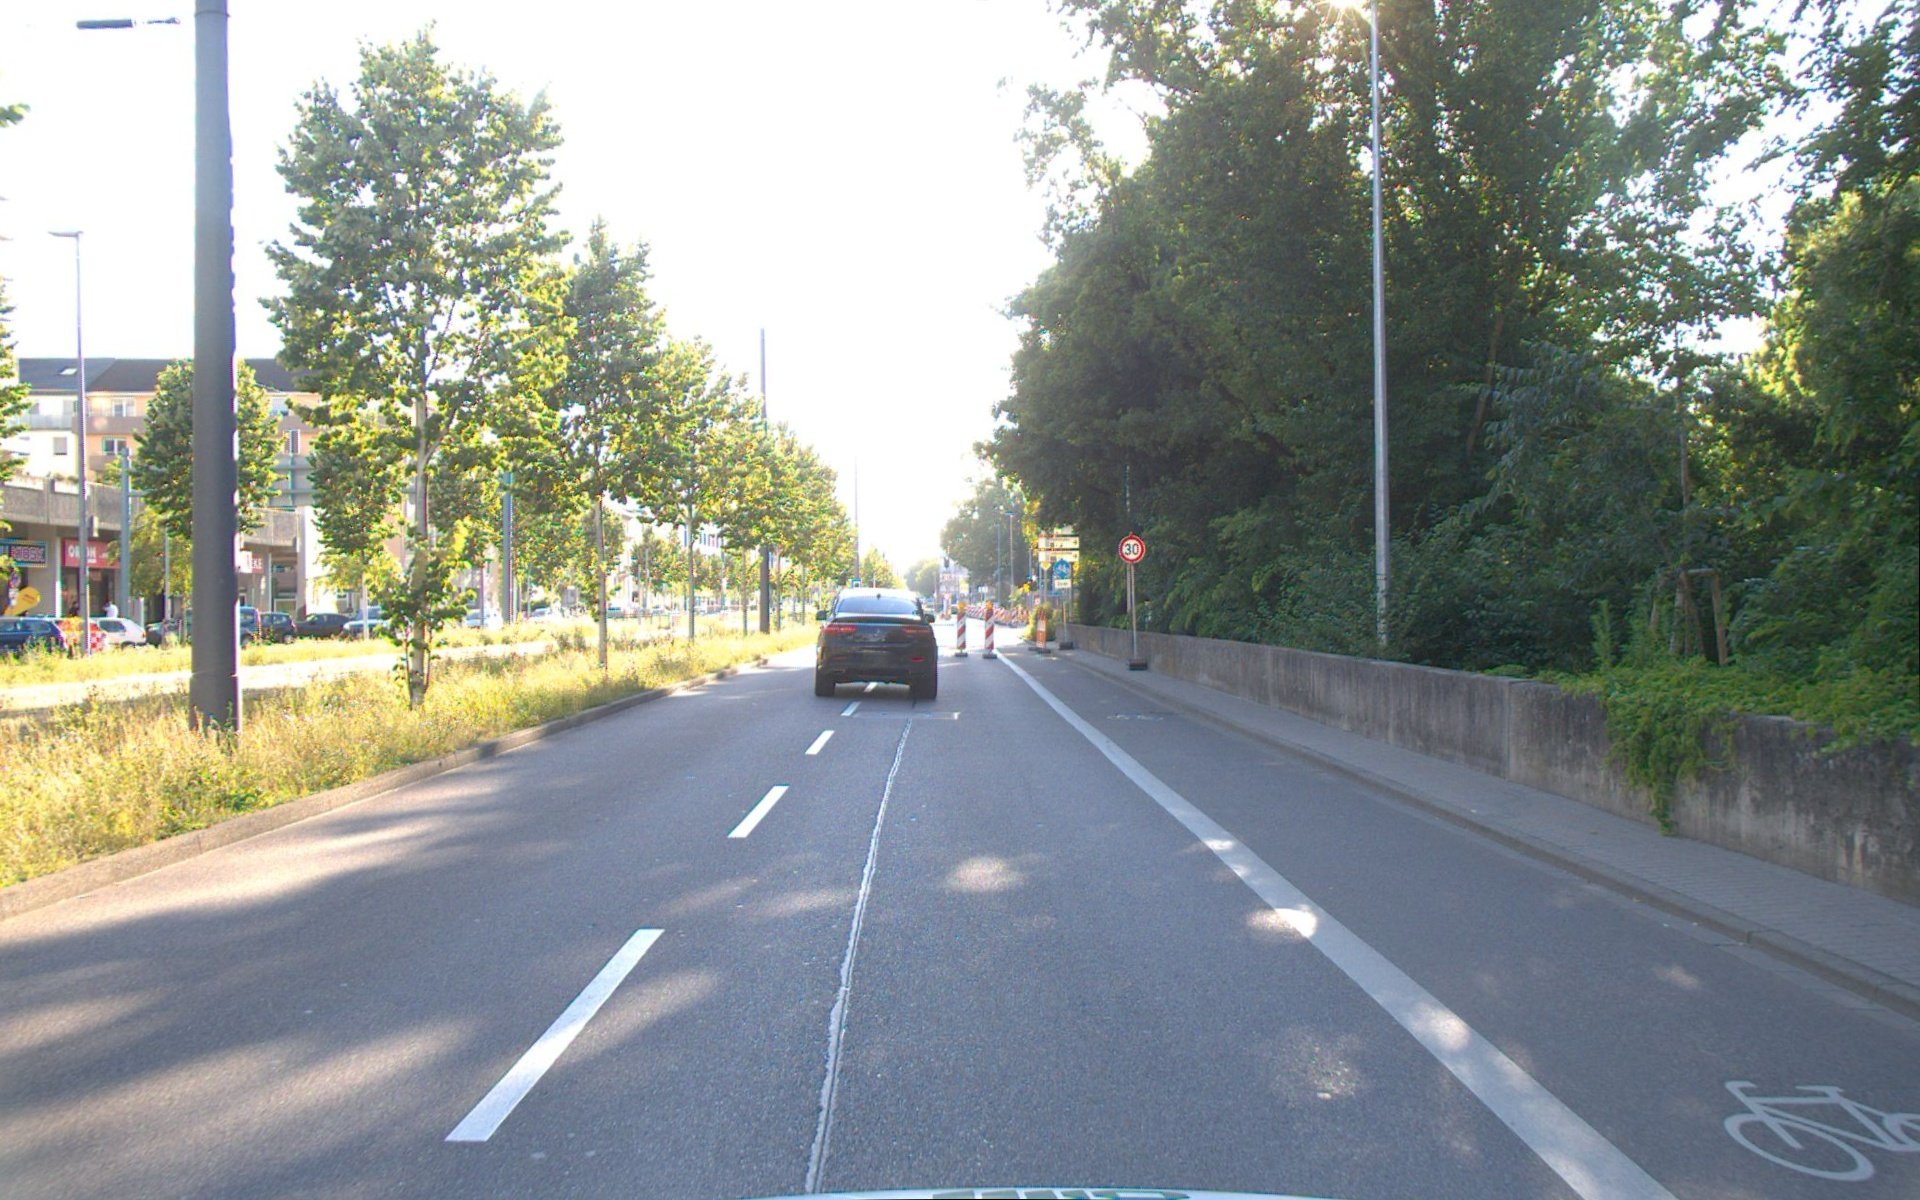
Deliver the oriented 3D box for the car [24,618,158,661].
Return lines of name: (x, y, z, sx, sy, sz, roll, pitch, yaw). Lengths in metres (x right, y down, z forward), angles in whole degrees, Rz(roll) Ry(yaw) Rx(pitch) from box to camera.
car: (-31.781, 1.422, 60.561, 1.754, 1.478, 3.977, 1, 0, 41)

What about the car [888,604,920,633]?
car: (-3.244, 1.066, 96.247, 1.847, 1.608, 3.999, 0, 0, -2)

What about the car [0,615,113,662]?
car: (-31.589, 1.348, 57.437, 3.594, 1.550, 1.596, 2, -1, -42)

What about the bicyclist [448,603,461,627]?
bicyclist: (-29.455, 0.884, 96.363, 0.580, 1.379, 0.759, 1, 0, -4)

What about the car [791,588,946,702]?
car: (-1.614, 0.695, 27.752, 1.959, 1.765, 3.987, 0, 0, -13)

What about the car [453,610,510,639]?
car: (-26.006, 1.322, 90.014, 1.847, 1.541, 4.000, 0, 0, 1)

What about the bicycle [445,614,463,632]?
bicycle: (-29.463, 1.331, 96.244, 0.594, 0.980, 1.716, 1, 0, -3)

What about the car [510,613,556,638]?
car: (-27.738, 1.664, 107.569, 1.847, 1.541, 4.000, 0, 0, 1)

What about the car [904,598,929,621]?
car: (-3.202, 0.718, 121.439, 1.731, 1.632, 3.771, -1, 0, -2)

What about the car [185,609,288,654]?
car: (-31.189, 1.363, 71.315, 3.725, 1.861, 1.798, 1, 0, -41)

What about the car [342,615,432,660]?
car: (-23.253, 1.483, 67.324, 1.847, 1.718, 5.089, 0, 0, 1)

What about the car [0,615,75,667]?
car: (-31.476, 1.319, 54.209, 4.061, 1.629, 1.723, 2, 0, -42)
